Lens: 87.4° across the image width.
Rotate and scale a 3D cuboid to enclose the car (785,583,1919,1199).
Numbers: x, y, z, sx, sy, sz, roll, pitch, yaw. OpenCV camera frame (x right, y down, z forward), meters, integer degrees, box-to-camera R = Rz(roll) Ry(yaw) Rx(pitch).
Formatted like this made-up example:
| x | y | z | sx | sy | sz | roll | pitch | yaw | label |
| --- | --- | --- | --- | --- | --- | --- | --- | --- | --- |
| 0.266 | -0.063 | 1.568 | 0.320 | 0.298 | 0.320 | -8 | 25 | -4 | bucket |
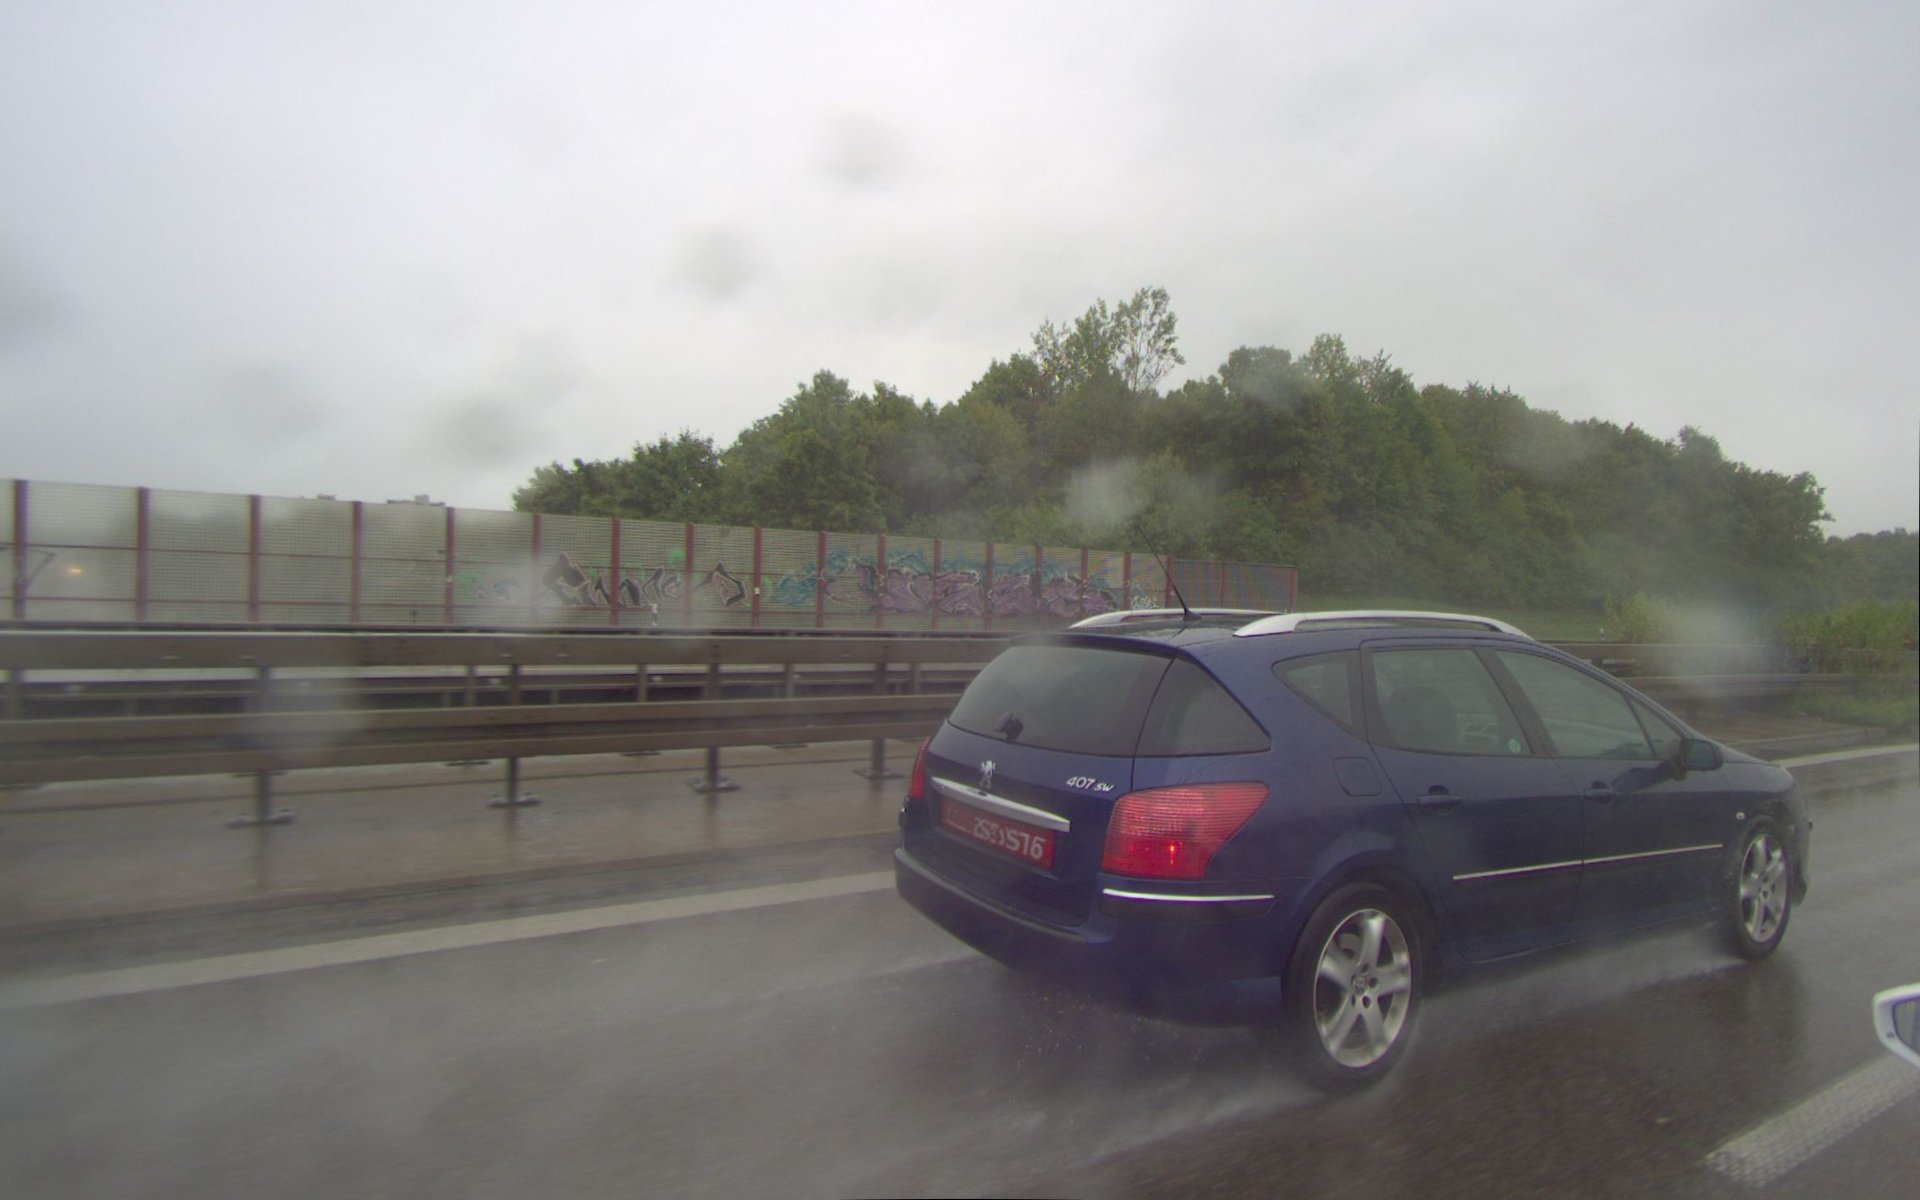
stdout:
| x | y | z | sx | sy | sz | roll | pitch | yaw | label |
| --- | --- | --- | --- | --- | --- | --- | --- | --- | --- |
| 1.980 | 0.744 | 4.562 | 5.094 | 1.505 | 2.045 | 1 | 0 | -29 | car |
